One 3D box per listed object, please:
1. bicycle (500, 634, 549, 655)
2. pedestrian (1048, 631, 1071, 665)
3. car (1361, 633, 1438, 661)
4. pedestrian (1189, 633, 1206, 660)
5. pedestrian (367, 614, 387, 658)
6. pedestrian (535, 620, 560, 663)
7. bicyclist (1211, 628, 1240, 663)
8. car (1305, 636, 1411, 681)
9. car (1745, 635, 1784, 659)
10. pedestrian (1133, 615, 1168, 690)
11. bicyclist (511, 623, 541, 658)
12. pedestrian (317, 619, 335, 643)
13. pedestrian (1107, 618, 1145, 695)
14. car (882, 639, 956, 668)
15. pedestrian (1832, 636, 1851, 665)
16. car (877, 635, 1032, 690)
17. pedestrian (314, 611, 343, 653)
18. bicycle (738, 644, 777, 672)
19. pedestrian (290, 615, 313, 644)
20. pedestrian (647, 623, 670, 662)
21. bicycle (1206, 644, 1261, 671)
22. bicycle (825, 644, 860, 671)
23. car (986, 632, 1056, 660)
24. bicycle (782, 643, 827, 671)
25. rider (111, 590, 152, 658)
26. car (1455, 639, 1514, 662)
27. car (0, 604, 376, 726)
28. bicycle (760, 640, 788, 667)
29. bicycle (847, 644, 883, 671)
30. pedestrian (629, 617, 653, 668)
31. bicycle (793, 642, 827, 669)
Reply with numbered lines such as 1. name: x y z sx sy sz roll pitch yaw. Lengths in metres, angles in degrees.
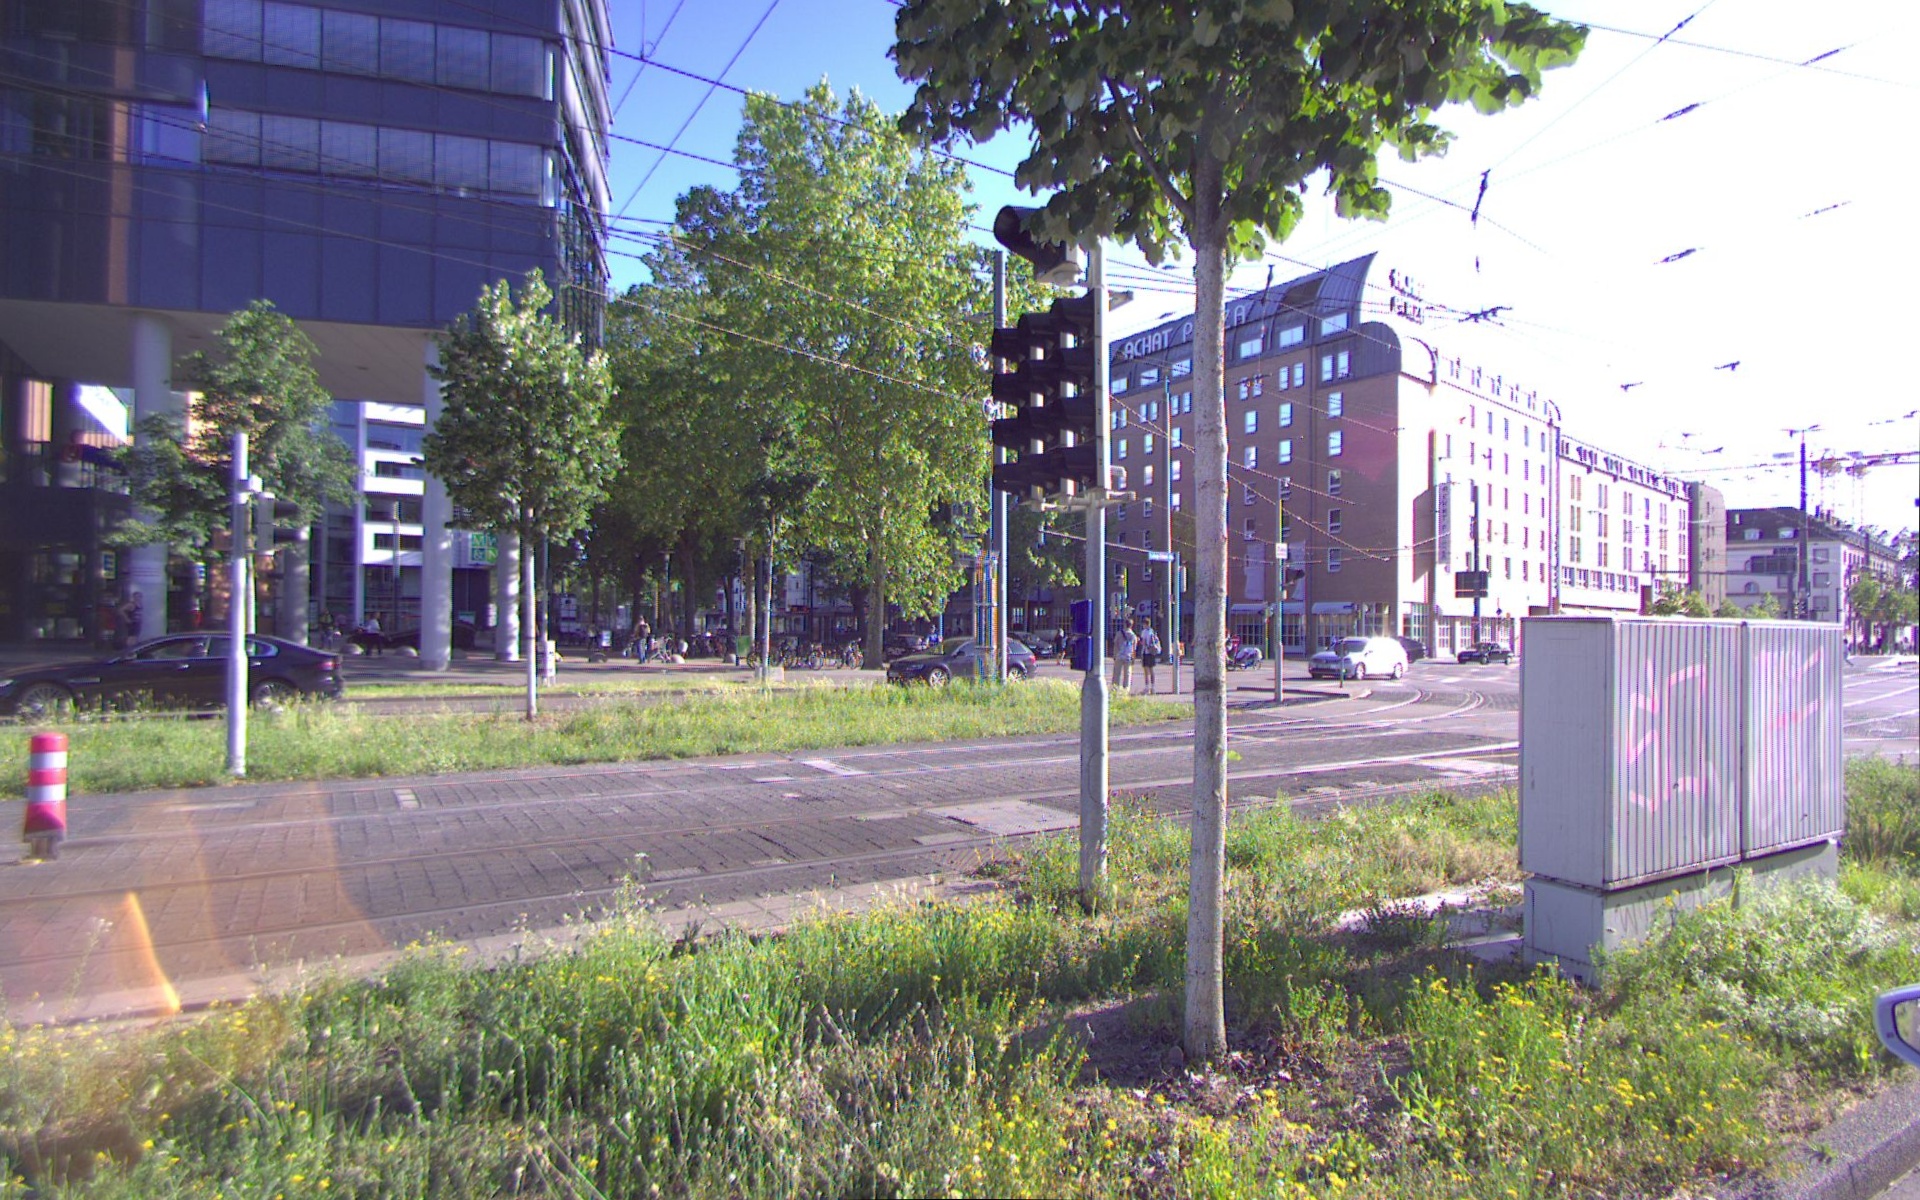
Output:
1. bicycle: -18.825 1.918 43.411 1.853 0.922 0.499 1 -1 -6
2. pedestrian: 4.804 2.296 48.458 0.832 1.619 0.692 1 0 -33
3. car: 26.755 2.825 61.210 1.745 1.570 3.955 2 -2 -39
4. pedestrian: 13.805 2.712 58.384 0.652 1.523 0.672 1 -1 -33
5. pedestrian: -20.361 1.250 35.083 0.566 1.500 0.450 1 0 -30
6. pedestrian: -15.808 1.575 38.521 0.826 1.619 0.730 1 0 -25
7. bicyclist: 11.004 1.886 41.702 0.942 1.393 0.752 2 -1 -37
8. car: 14.062 2.035 35.452 3.960 1.468 1.563 2 -2 -35
9. car: 53.368 3.094 66.619 1.726 1.524 3.858 -1 -2 43
10. pedestrian: 4.760 1.299 25.066 0.656 1.841 0.559 1 -1 -36
11. bicyclist: -18.754 1.736 43.443 0.997 1.484 0.680 1 -1 -4
12. pedestrian: -34.994 1.729 55.446 0.651 1.294 0.636 1 0 -13
13. pedestrian: 4.068 1.374 24.653 0.656 1.854 0.627 1 -1 -36
14. car: -2.055 2.576 49.003 1.977 1.283 3.968 1 -2 -30
15. pedestrian: 50.934 2.910 58.057 0.739 1.662 0.758 2 -2 -42
16. car: -0.123 1.720 28.059 4.104 1.440 1.711 2 -4 -36
17. pedestrian: -26.700 1.358 42.460 0.794 1.730 0.789 1 0 -13
18. bicycle: -7.436 2.101 36.820 0.538 0.964 1.748 2 -2 -44
19. pedestrian: -35.487 1.572 54.141 0.647 1.500 1.053 1 0 -13
20. pedestrian: -12.850 1.808 42.763 0.826 1.667 0.730 1 -1 -25
21. bicycle: 11.450 2.389 41.974 2.900 1.099 0.645 2 -2 -38
22. bicycle: -4.449 2.157 38.038 0.536 0.964 1.753 2 -2 -36
23. car: 3.331 2.513 55.153 1.743 1.439 3.960 2 -2 -35
24. bicycle: -5.725 2.094 36.876 1.742 0.964 0.540 0 -1 34
25. rider: -22.477 0.654 27.263 0.704 1.826 0.715 1 -1 -29
26. car: 32.866 3.147 62.881 3.962 1.407 1.742 2 -2 -37
27. car: -12.469 1.190 16.596 4.690 1.614 1.984 5 -12 -34
28. bicycle: -7.101 2.048 38.457 0.530 0.964 1.772 1 -1 7
29. bicycle: -3.638 2.180 38.401 0.536 0.964 1.753 2 -2 -36
30. pedestrian: -13.111 1.733 41.279 0.826 2.040 0.730 1 0 -25
31. bicycle: -5.722 2.104 38.330 0.536 0.964 1.753 2 -2 -36
